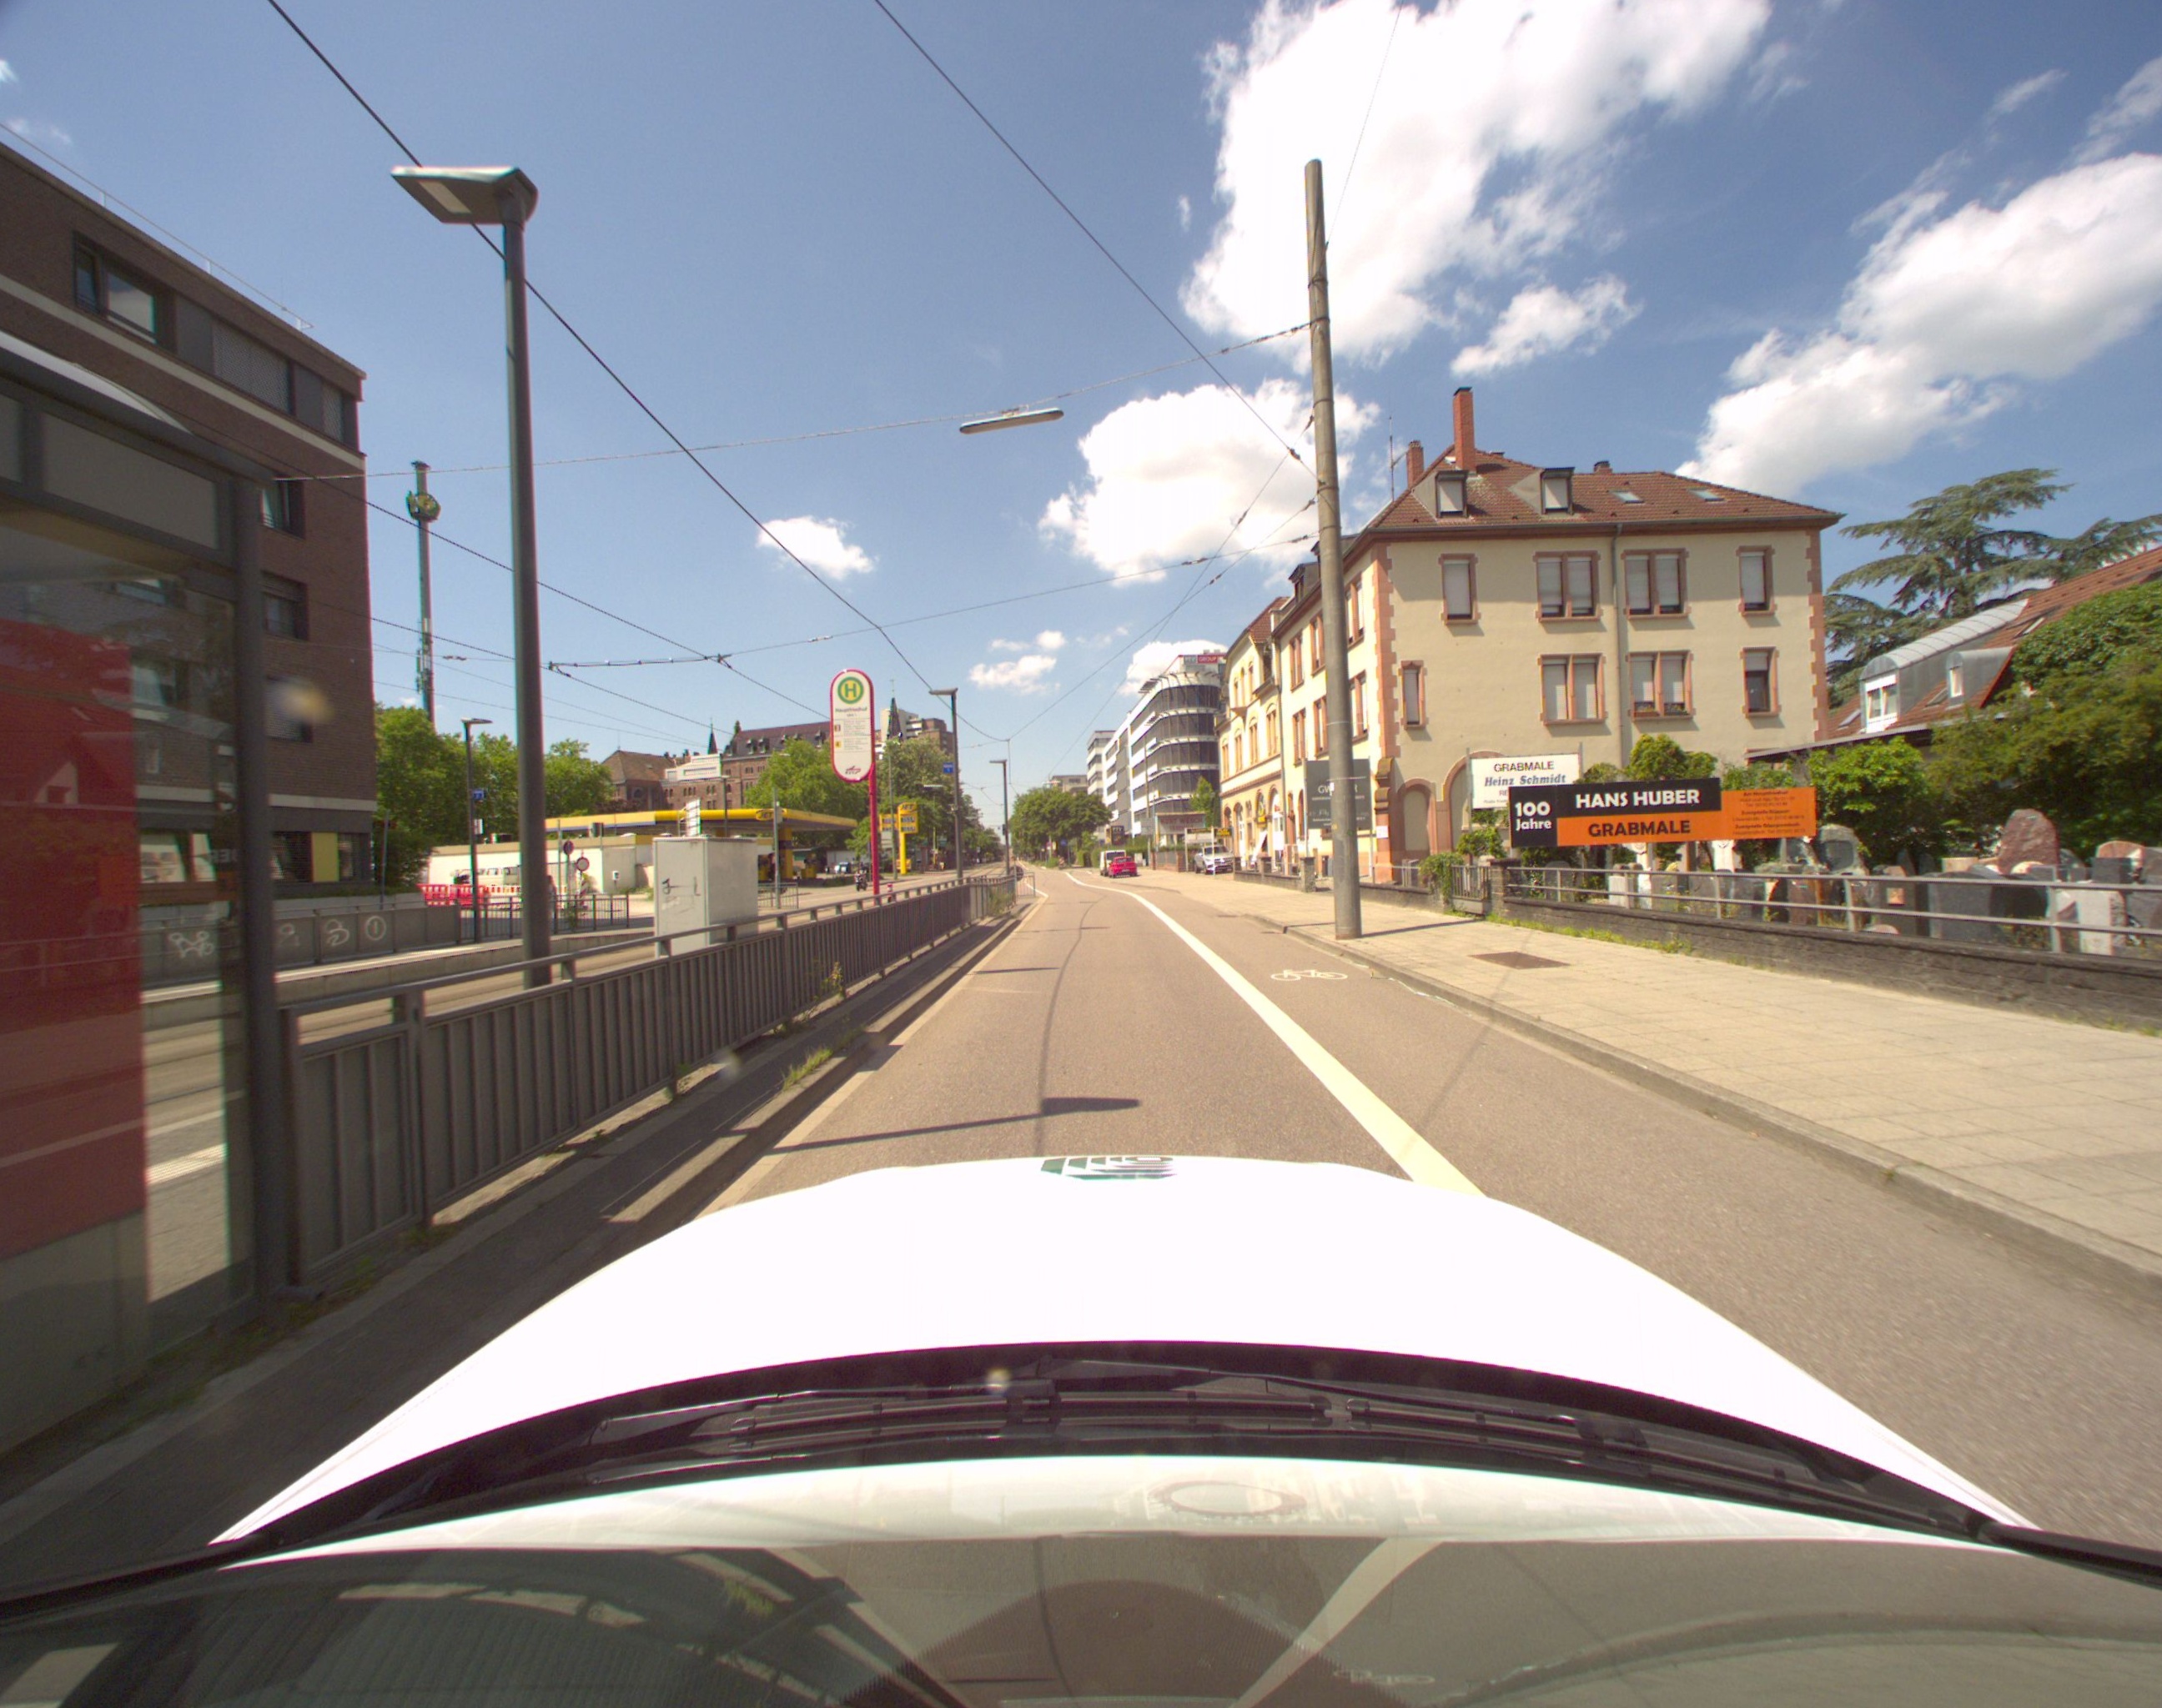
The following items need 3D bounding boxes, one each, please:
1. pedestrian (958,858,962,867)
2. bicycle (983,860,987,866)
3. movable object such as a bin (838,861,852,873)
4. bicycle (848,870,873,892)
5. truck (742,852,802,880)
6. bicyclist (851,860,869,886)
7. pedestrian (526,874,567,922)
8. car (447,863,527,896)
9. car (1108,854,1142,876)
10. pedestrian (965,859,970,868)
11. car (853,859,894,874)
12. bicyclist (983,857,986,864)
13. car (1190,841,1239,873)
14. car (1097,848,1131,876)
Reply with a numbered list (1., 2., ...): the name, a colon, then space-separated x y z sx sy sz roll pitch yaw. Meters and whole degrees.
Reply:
1. pedestrian: -24.010 1.685 161.909 0.742 1.728 0.866 -2 0 -5
2. bicycle: -22.545 2.094 190.703 0.700 1.203 2.236 -4 0 -5
3. movable object such as a bin: -28.363 1.586 97.849 1.337 1.354 0.760 -2 0 7
4. bicycle: -13.347 1.598 49.382 0.814 1.222 2.388 -3 0 -1
5. truck: -28.843 1.071 76.217 1.975 2.498 5.234 -2 0 26
6. bicyclist: -13.400 1.156 49.422 0.756 1.504 1.064 -2 0 -3
7. pedestrian: -18.645 1.519 28.434 0.758 1.596 0.999 1 0 -2
8. car: -39.034 1.661 53.582 4.211 1.937 1.901 -2 0 14
9. car: 3.074 0.769 57.497 1.989 1.442 4.013 -2 0 -3
10. pedestrian: -21.217 1.751 151.981 0.813 1.770 0.923 -2 0 -5
11. car: -25.041 1.538 98.329 1.974 1.590 4.361 -2 0 39
12. bicyclist: -22.553 1.547 190.485 0.641 1.679 0.813 -2 0 -6
13. car: 7.725 0.153 47.546 1.873 1.624 4.636 -5 0 -2
14. car: 2.553 0.583 64.214 1.990 1.991 5.506 -4 0 -4
